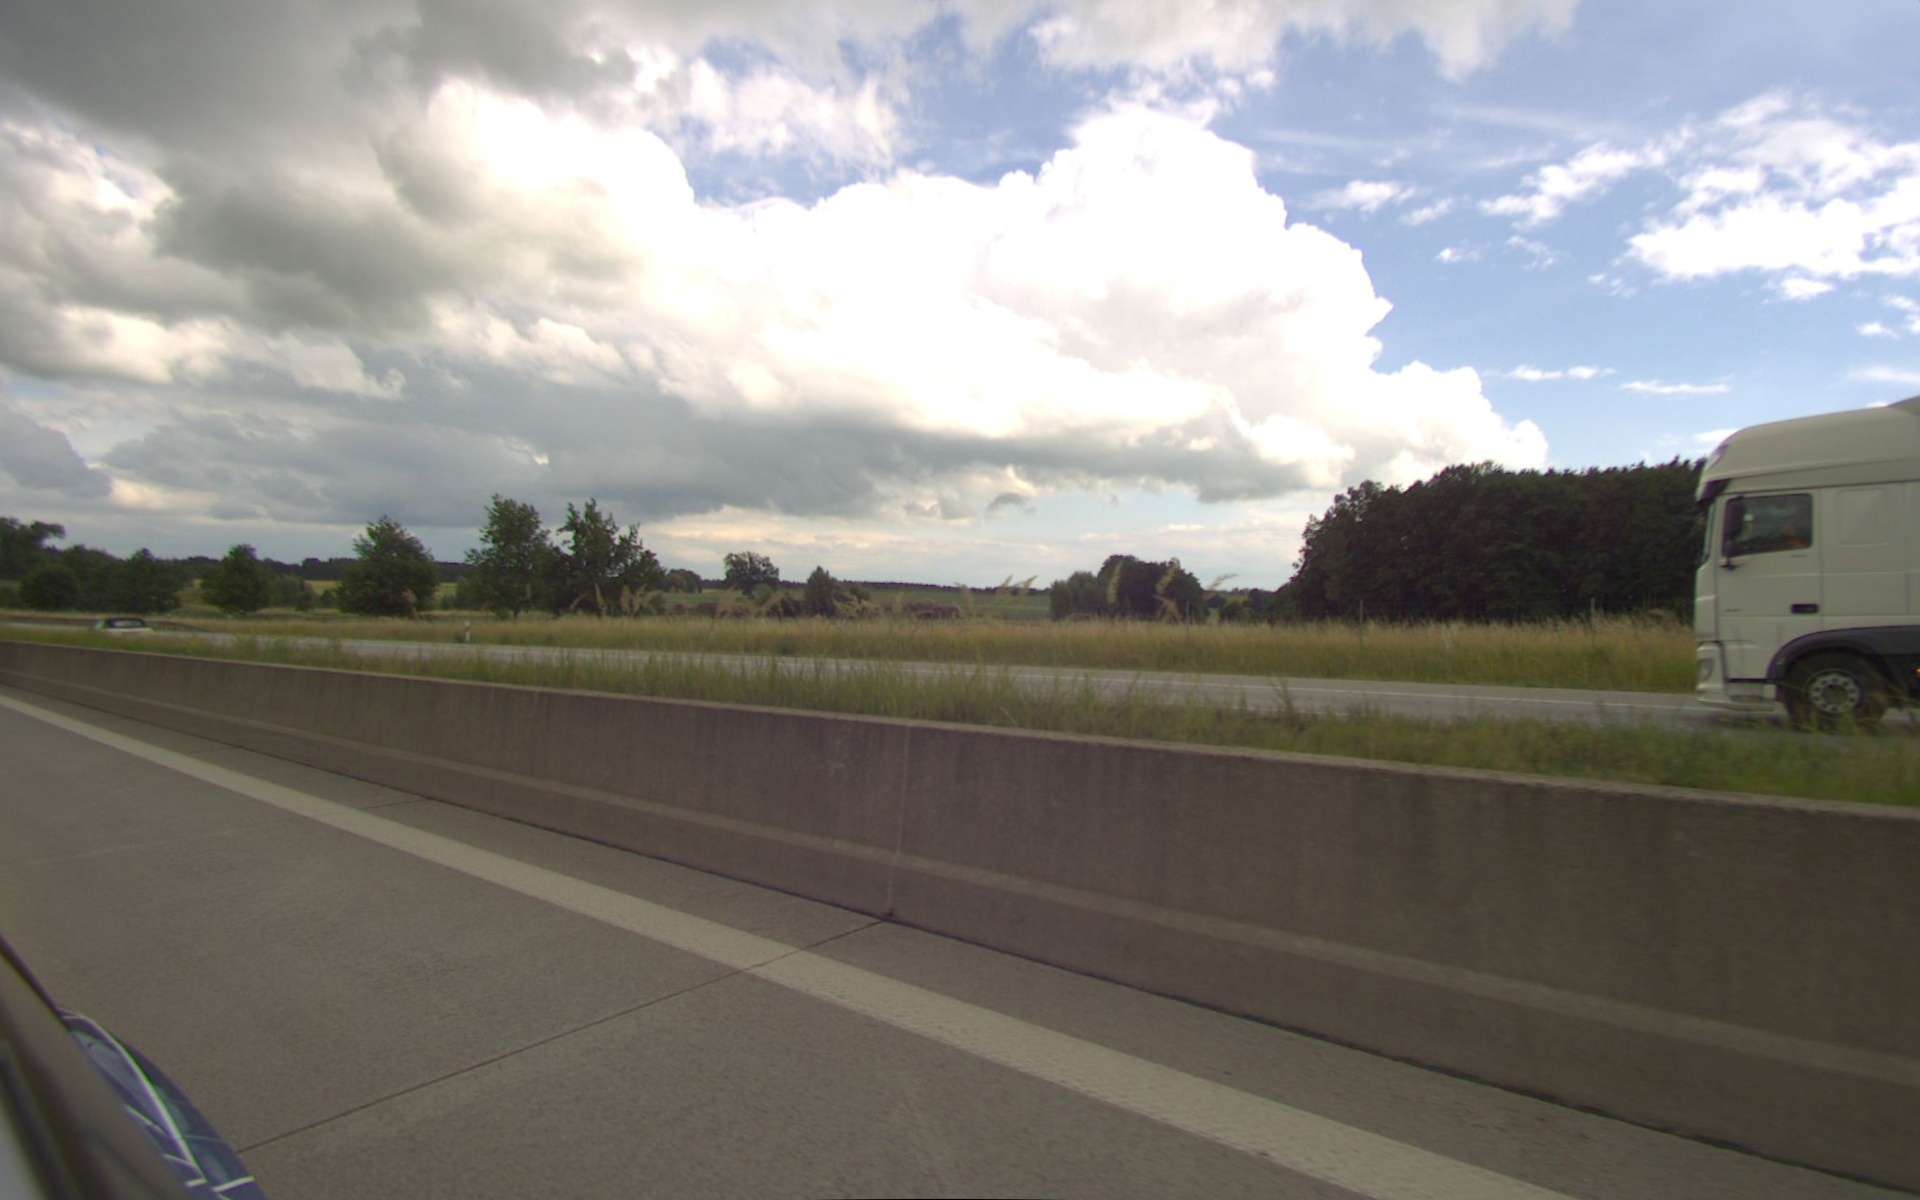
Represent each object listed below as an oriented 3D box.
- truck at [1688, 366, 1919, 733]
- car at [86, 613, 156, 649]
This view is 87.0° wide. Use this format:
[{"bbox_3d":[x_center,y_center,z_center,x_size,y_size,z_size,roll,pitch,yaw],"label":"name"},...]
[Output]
[{"bbox_3d":[12.076,-0.562,11.863,5.507,4.069,2.811,-1,-1,40],"label":"truck"},{"bbox_3d":[-33.189,1.203,40.002,3.470,1.362,1.551,-1,-1,40],"label":"car"}]
